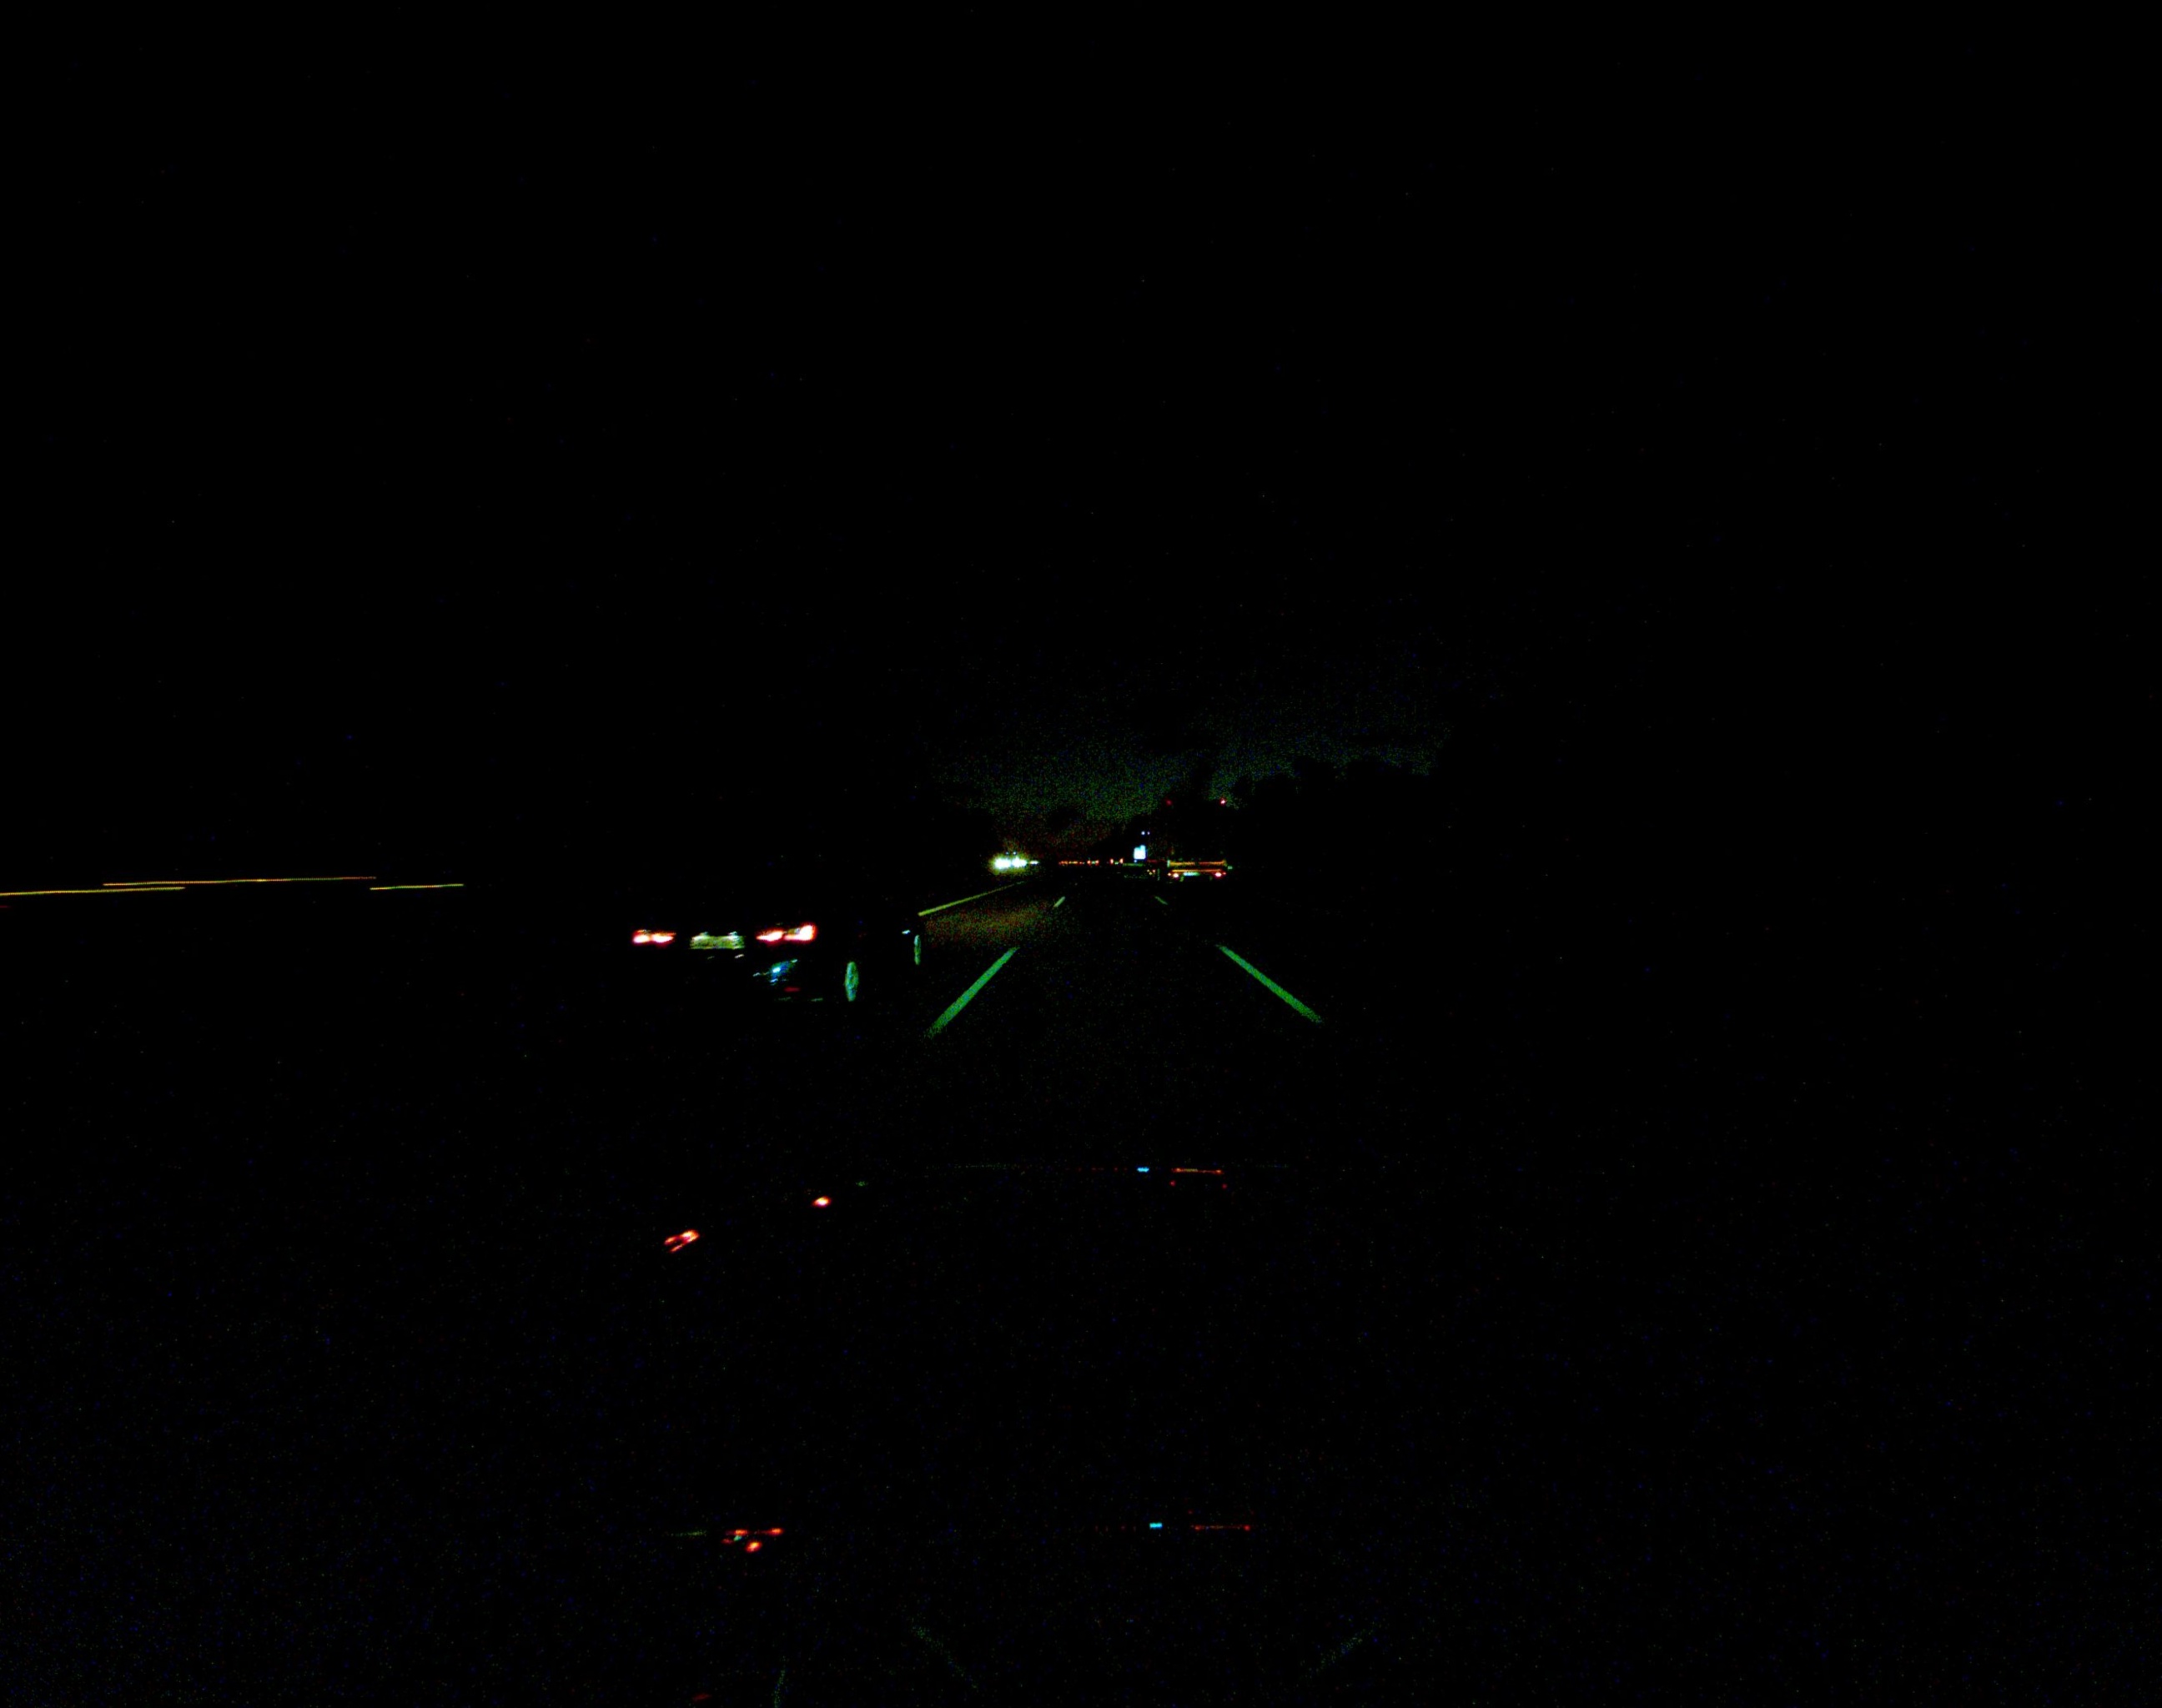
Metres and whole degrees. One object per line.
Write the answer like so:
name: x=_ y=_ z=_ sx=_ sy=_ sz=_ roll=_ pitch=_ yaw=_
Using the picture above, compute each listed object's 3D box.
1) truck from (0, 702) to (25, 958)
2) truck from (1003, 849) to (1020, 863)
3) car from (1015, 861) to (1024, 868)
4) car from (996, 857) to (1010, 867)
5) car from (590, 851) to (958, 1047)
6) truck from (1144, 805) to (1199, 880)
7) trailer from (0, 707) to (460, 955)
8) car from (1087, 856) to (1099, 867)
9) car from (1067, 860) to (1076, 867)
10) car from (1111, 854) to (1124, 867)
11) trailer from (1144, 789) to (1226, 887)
truck: x=-18.765 y=-0.389 z=7.958 sx=2.849 sy=4.071 sz=10.638 roll=0 pitch=0 yaw=1
truck: x=-18.582 y=0.556 z=218.361 sx=3.300 sy=3.808 sz=10.987 roll=0 pitch=0 yaw=1
car: x=-14.320 y=2.411 z=190.894 sx=1.739 sy=1.662 sz=4.000 roll=0 pitch=-2 yaw=1
car: x=-14.276 y=1.457 z=148.934 sx=1.986 sy=1.662 sz=4.001 roll=0 pitch=0 yaw=1
car: x=-2.960 y=0.777 z=9.541 sx=1.986 sy=1.518 sz=5.653 roll=0 pitch=1 yaw=2
truck: x=5.393 y=-0.654 z=49.593 sx=2.819 sy=4.256 sz=6.265 roll=-1 pitch=0 yaw=2
trailer: x=-18.517 y=-0.361 z=17.841 sx=2.849 sy=4.071 sz=8.874 roll=0 pitch=0 yaw=1
car: x=1.942 y=1.275 z=135.511 sx=1.987 sy=1.794 sz=4.000 roll=0 pitch=-1 yaw=0
car: x=-2.252 y=2.341 z=200.486 sx=1.986 sy=1.794 sz=4.000 roll=0 pitch=-1 yaw=1
car: x=5.980 y=1.060 z=133.412 sx=1.986 sy=2.117 sz=4.000 roll=0 pitch=-1 yaw=1
trailer: x=5.213 y=-0.671 z=44.197 sx=2.818 sy=4.256 sz=17.056 roll=-1 pitch=0 yaw=2
